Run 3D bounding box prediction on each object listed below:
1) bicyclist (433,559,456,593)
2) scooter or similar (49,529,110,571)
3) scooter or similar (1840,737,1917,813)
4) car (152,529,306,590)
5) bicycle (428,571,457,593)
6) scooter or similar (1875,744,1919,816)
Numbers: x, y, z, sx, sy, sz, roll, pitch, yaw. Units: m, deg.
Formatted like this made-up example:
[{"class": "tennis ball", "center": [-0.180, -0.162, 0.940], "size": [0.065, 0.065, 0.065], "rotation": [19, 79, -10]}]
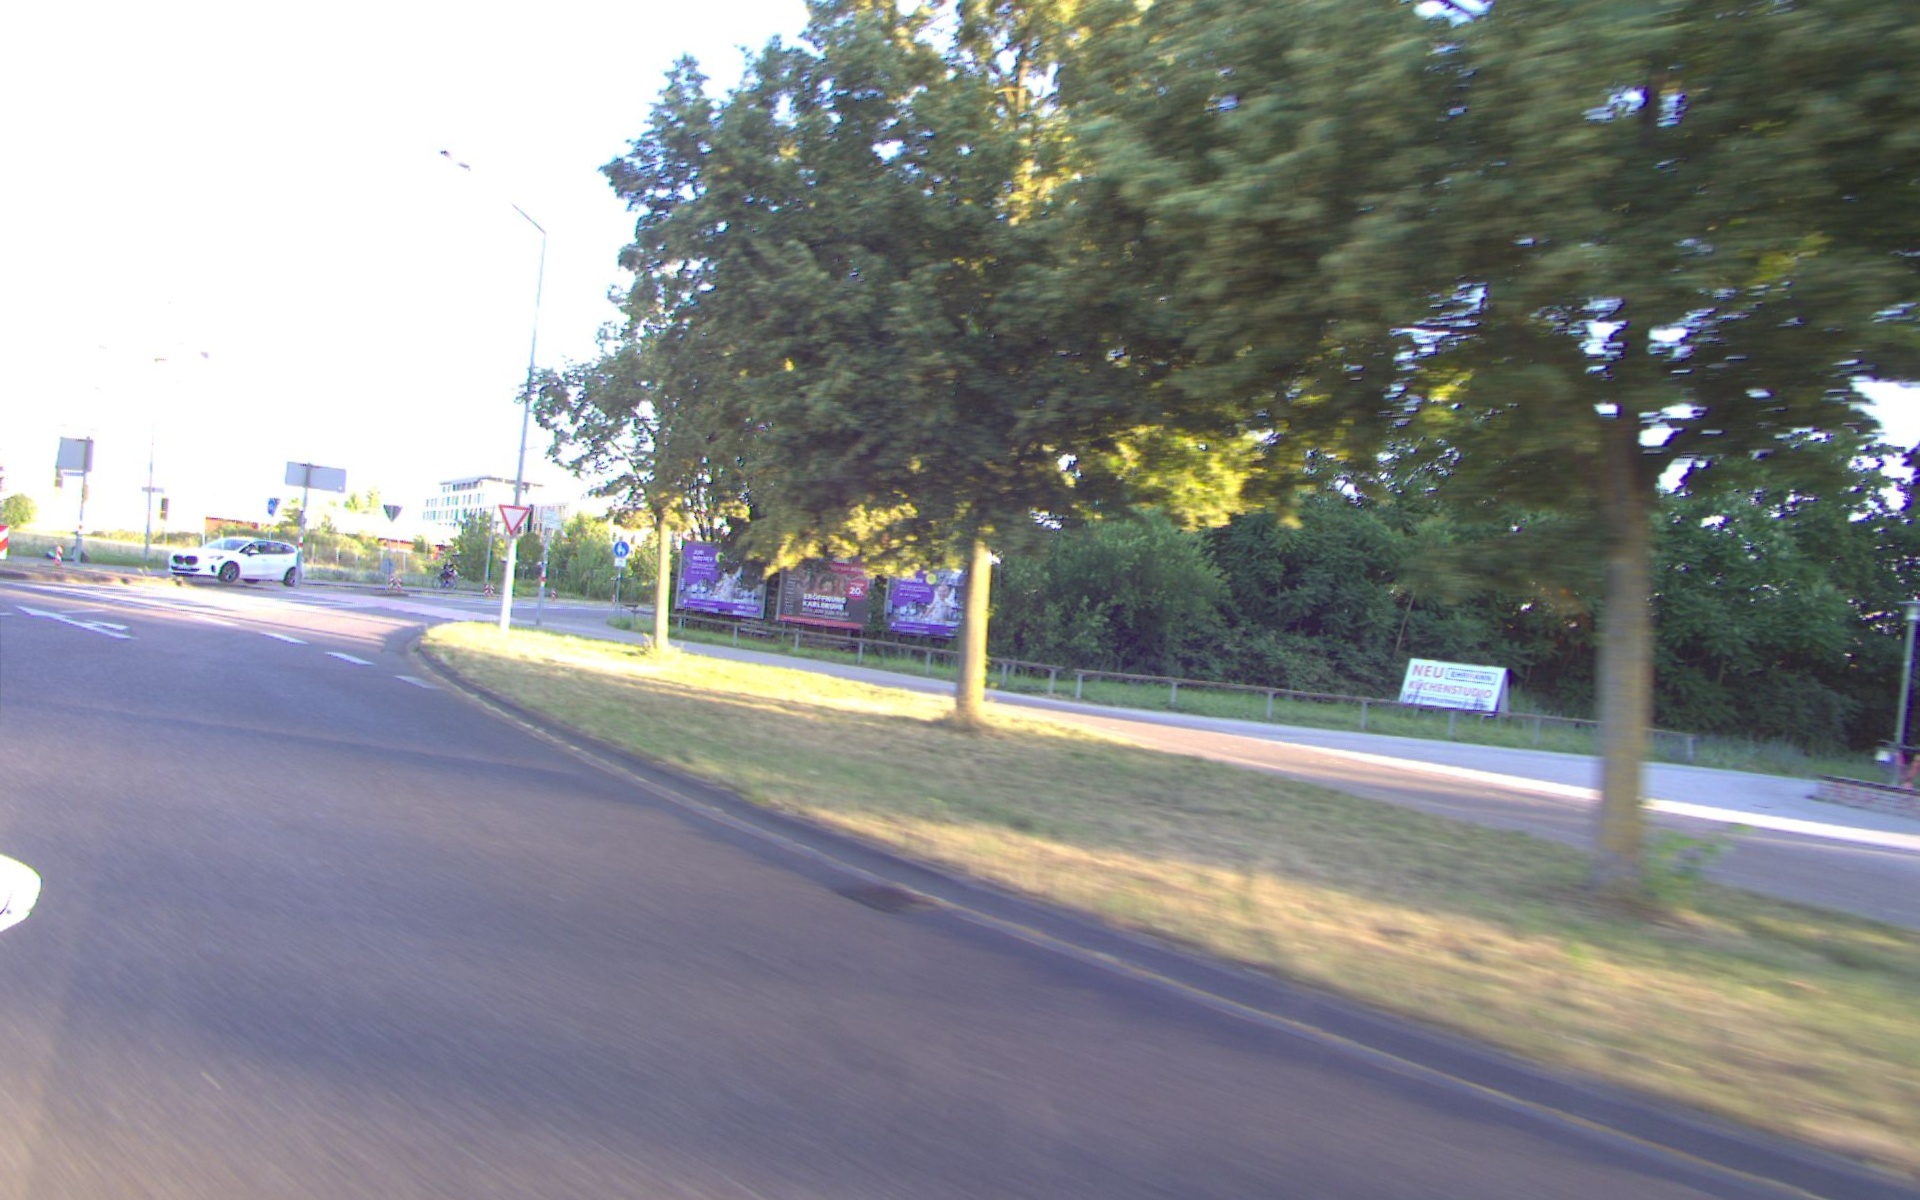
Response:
[{"class": "bicyclist", "center": [-28.419, -1.300, 55.433], "size": [0.828, 1.765, 0.537], "rotation": [6, 0, -3]}, {"class": "scooter or similar", "center": [-28.113, -1.589, 32.127], "size": [1.359, 1.177, 0.442], "rotation": [7, 0, -6]}, {"class": "scooter or similar", "center": [17.565, 3.317, 19.270], "size": [0.359, 1.235, 1.578], "rotation": [6, -1, 18]}, {"class": "car", "center": [-24.711, -1.311, 34.220], "size": [1.855, 1.577, 4.099], "rotation": [5, -2, 6]}, {"class": "bicycle", "center": [-28.542, -0.990, 55.471], "size": [1.347, 1.102, 0.280], "rotation": [6, 0, -2]}, {"class": "scooter or similar", "center": [18.079, 3.421, 19.075], "size": [0.359, 1.235, 1.578], "rotation": [6, -1, 18]}]
